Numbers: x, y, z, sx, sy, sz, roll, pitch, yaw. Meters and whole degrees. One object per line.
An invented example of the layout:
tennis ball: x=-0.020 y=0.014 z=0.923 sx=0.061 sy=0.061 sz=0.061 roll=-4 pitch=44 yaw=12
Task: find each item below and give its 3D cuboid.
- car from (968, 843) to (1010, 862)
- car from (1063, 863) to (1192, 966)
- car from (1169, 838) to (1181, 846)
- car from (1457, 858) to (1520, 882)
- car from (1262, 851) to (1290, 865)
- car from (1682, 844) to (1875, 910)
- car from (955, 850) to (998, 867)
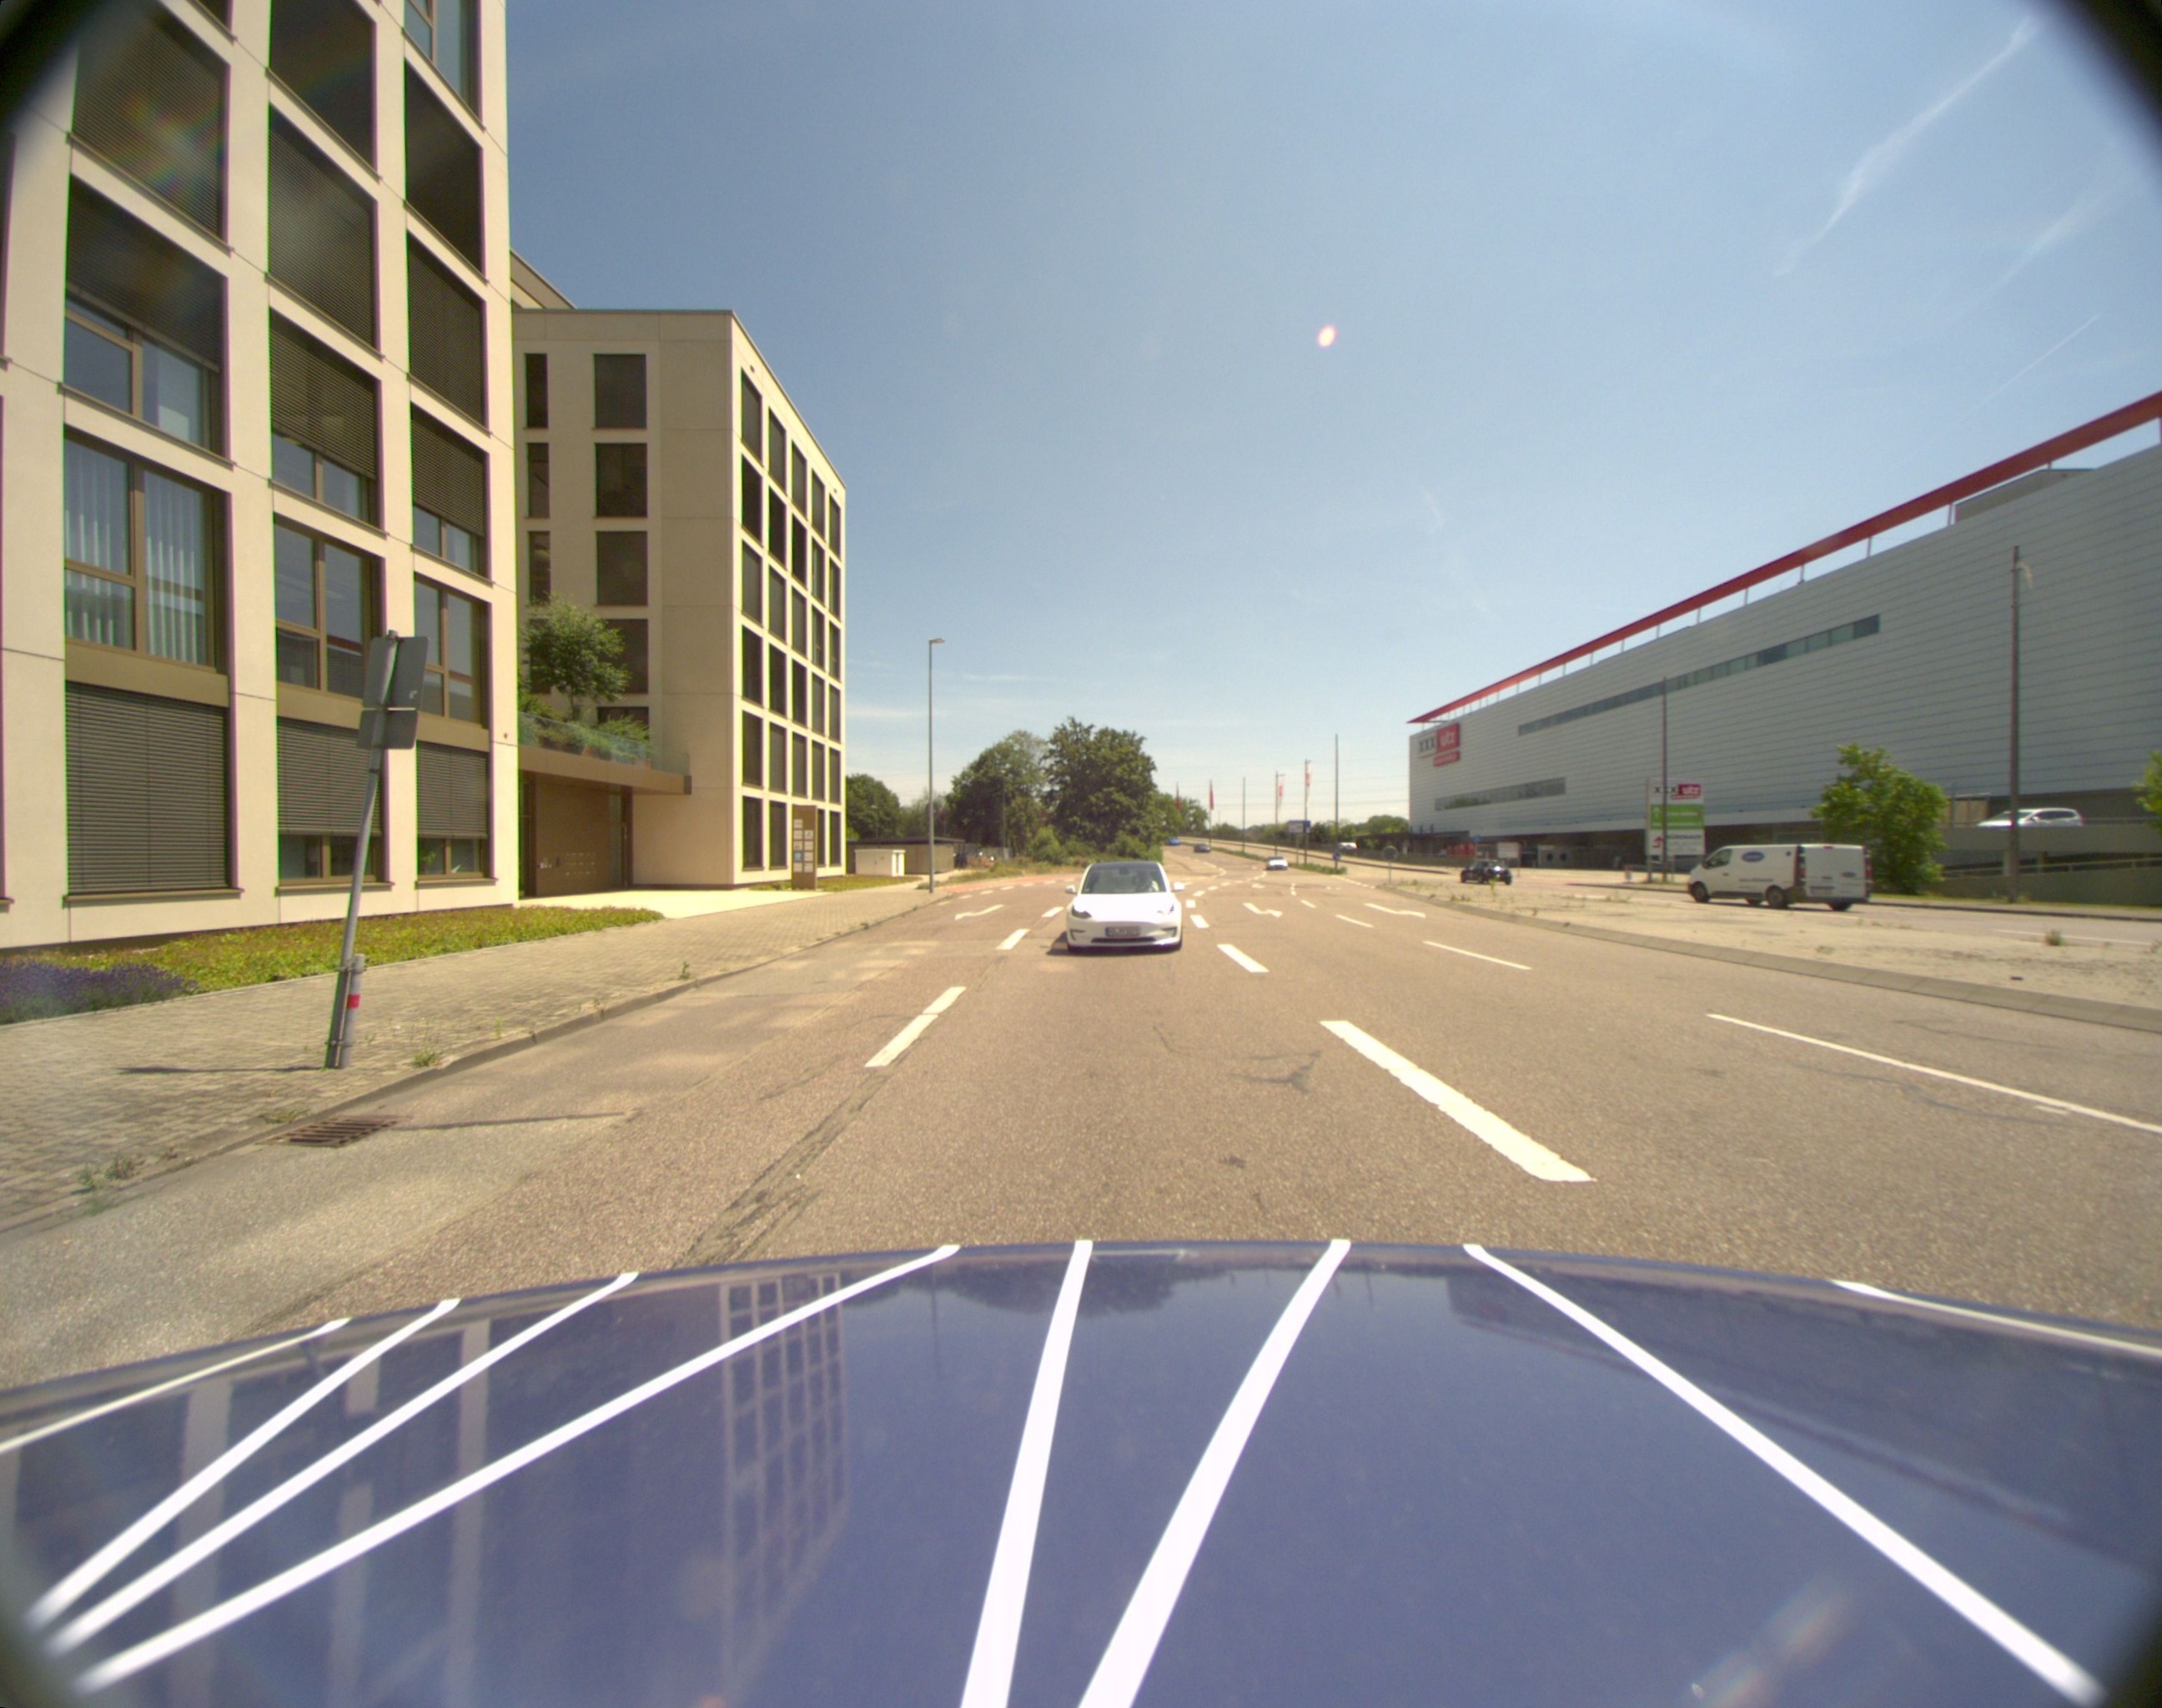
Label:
car: x=-9.879 y=-0.155 z=81.329 sx=4.005 sy=1.941 sz=1.996 roll=0 pitch=0 yaw=-25
car: x=0.640 y=0.925 z=13.445 sx=1.880 sy=1.417 sz=4.405 roll=-2 pitch=0 yaw=-1
car: x=16.810 y=-2.172 z=136.114 sx=1.801 sy=1.406 sz=4.404 roll=0 pitch=3 yaw=1
car: x=23.595 y=0.913 z=44.186 sx=1.859 sy=1.295 sz=3.895 roll=1 pitch=0 yaw=6
car: x=20.023 y=0.423 z=78.045 sx=1.735 sy=1.441 sz=4.230 roll=0 pitch=0 yaw=-1
car: x=21.425 y=0.630 z=23.673 sx=1.834 sy=1.839 sz=4.842 roll=0 pitch=0 yaw=5
car: x=-10.662 y=0.421 z=77.307 sx=4.005 sy=1.652 sz=1.834 roll=0 pitch=1 yaw=-24
